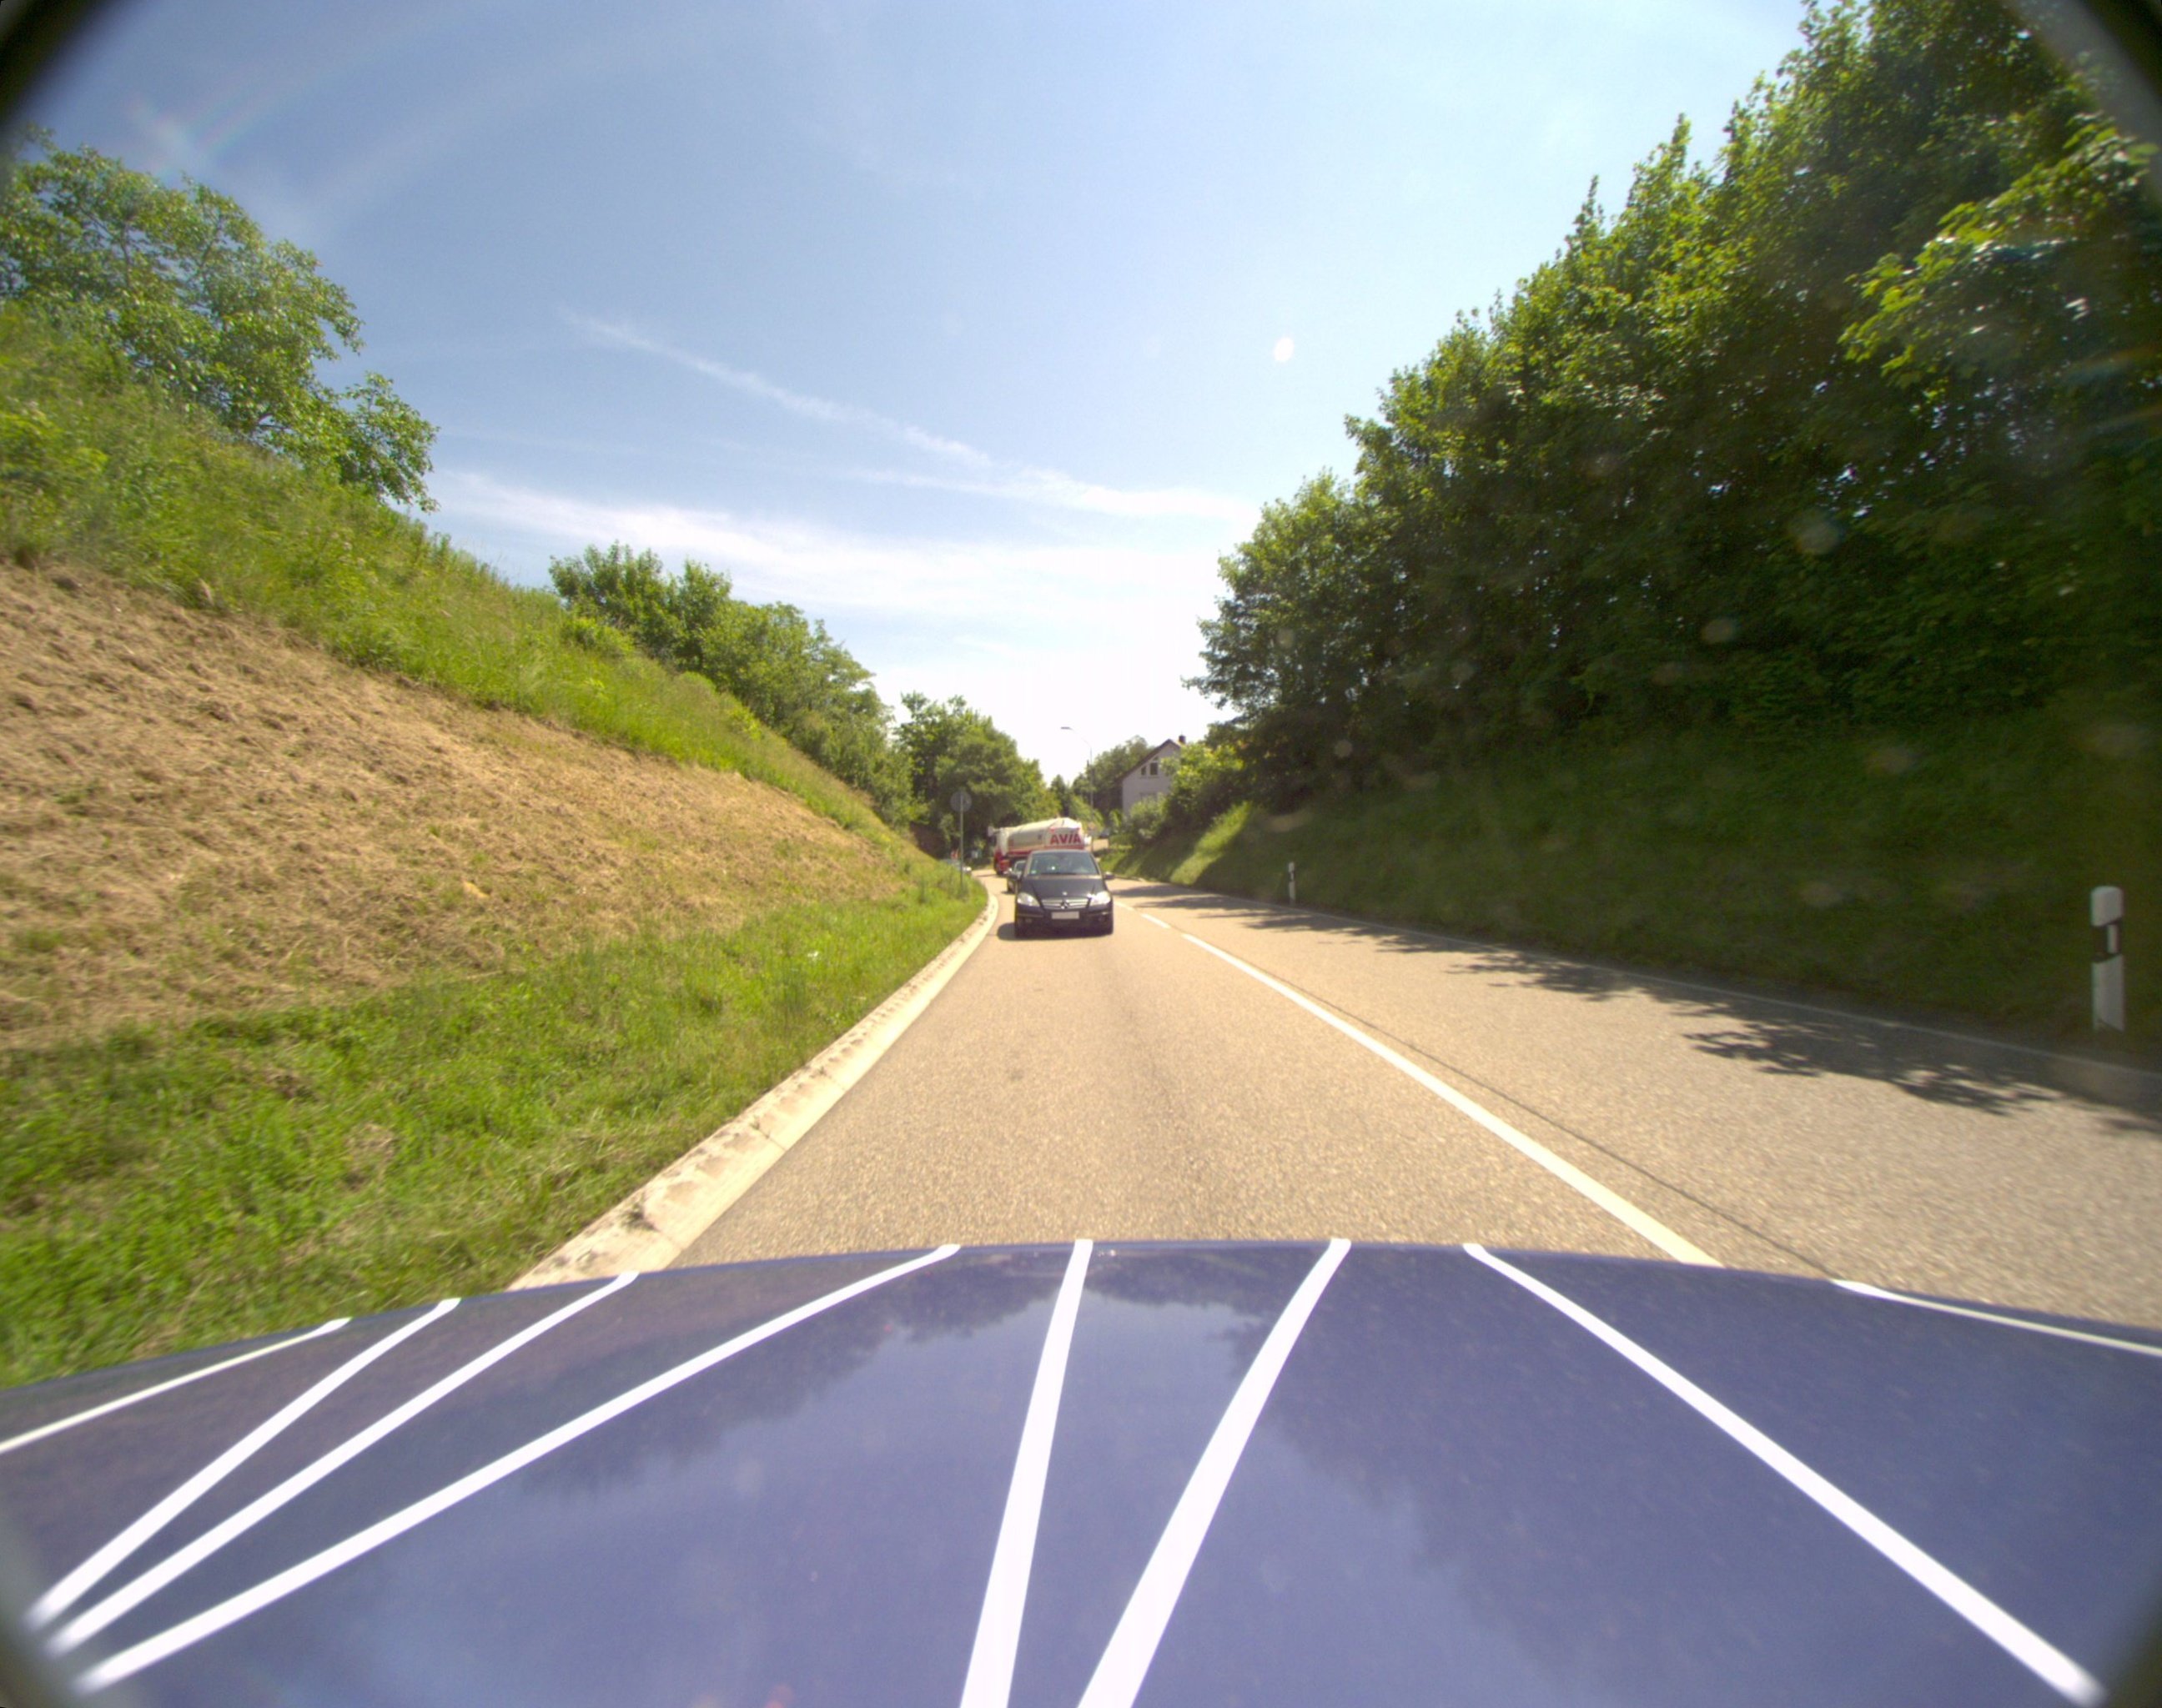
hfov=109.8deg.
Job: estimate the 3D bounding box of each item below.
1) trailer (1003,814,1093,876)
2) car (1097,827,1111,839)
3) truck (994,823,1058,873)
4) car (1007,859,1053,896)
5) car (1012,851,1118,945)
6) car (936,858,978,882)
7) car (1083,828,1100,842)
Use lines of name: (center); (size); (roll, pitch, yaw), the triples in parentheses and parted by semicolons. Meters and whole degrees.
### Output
trailer: (-2.331, -0.505, 47.167); (2.643, 3.353, 11.125); (-2, 1, -18)
car: (3.346, -3.072, 111.049); (1.749, 1.382, 3.997); (-3, 4, 1)
truck: (-3.893, -0.405, 51.975); (2.636, 3.152, 7.056); (-2, 1, -19)
car: (-2.000, 0.898, 29.958); (1.648, 1.314, 3.437); (2, -1, -4)
car: (-0.400, 0.780, 15.135); (1.796, 1.570, 3.798); (-2, 0, -4)
car: (-8.187, 1.028, 49.803); (1.758, 1.281, 4.136); (-3, 2, -22)
car: (1.253, -2.392, 95.273); (1.998, 1.499, 3.997); (-3, 4, 0)
